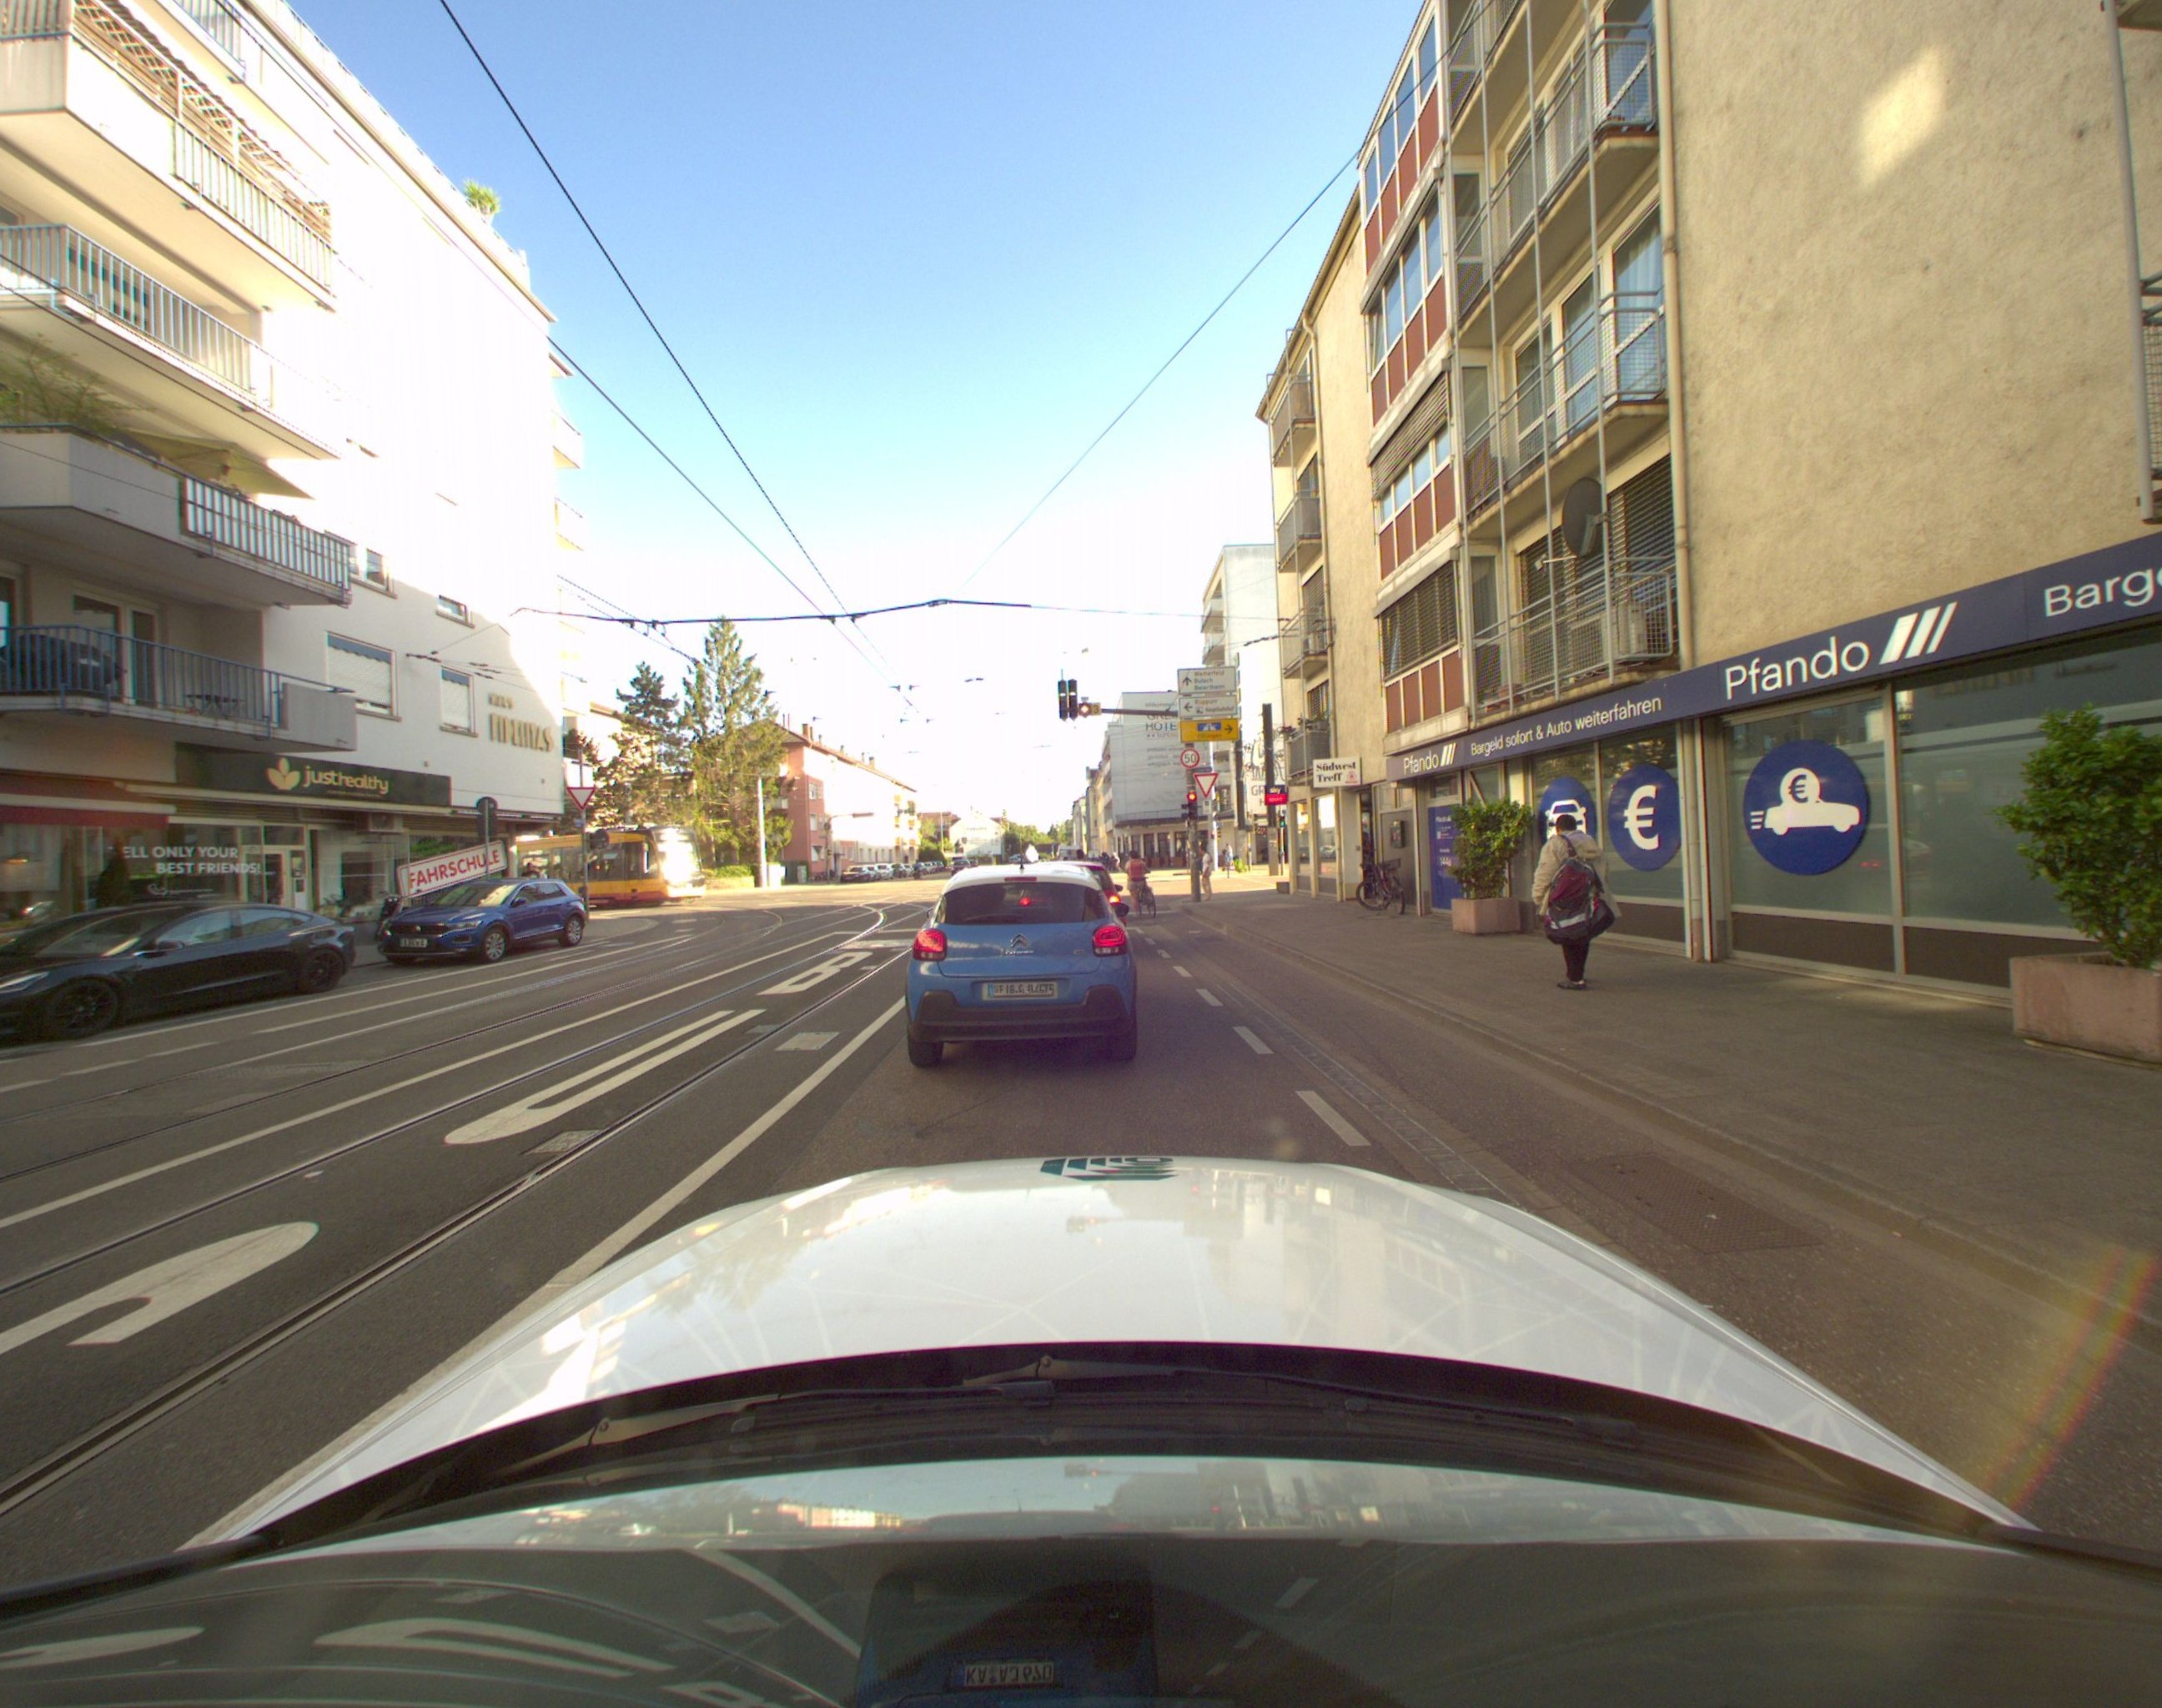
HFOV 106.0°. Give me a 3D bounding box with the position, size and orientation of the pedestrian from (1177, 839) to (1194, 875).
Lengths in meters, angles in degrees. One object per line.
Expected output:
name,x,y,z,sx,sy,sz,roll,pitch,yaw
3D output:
pedestrian,6.029,0.174,46.937,0.922,2.014,0.760,0,-1,1

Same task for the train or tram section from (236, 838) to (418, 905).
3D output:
train or tram section,-45.053,1.037,48.444,14.088,3.632,2.769,-1,-1,25

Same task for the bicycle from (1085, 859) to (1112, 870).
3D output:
bicycle,1.451,0.870,67.295,2.130,0.901,0.366,0,-1,-7

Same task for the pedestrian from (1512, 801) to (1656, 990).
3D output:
pedestrian,4.458,0.353,7.274,0.822,1.593,0.751,0,-1,1

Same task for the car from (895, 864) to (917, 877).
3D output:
car,-19.946,1.851,92.869,1.728,1.498,3.996,0,-1,-2

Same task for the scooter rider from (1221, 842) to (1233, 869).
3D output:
scooter rider,10.188,0.105,56.813,0.718,1.832,0.718,-3,-1,4

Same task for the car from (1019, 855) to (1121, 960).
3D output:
car,-0.113,0.799,13.295,1.419,1.467,2.925,-2,-1,2

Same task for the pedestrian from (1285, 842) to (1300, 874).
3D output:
pedestrian,10.600,0.195,40.776,0.730,1.601,0.751,-1,-1,15

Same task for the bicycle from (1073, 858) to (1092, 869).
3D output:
bicycle,0.131,0.825,69.645,1.765,0.901,0.369,-1,-1,36

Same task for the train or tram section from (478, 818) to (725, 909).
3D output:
train or tram section,-21.978,0.533,36.993,12.473,3.593,3.090,-2,0,26

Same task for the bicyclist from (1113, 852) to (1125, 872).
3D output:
bicyclist,2.893,0.592,62.028,0.739,1.477,0.565,-1,-1,20

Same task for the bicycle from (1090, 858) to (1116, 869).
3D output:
bicycle,1.784,0.773,66.182,2.130,0.901,0.366,0,-1,-7

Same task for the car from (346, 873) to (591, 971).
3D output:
car,-11.941,1.236,16.288,1.864,1.531,4.068,-2,0,-2

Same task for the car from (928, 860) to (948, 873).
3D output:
car,-18.690,1.673,106.786,1.978,1.687,3.998,0,-1,-1

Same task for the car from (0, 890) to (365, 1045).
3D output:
car,-12.035,1.291,10.455,1.816,1.387,4.425,-2,0,-2

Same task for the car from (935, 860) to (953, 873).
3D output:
car,-18.846,1.682,111.984,1.877,1.687,3.998,0,-1,-1

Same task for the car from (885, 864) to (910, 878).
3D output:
car,-19.549,1.806,86.748,1.781,1.498,3.998,0,-1,-1

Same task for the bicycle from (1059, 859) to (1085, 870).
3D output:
bicycle,-0.716,0.879,66.492,2.130,0.901,0.366,0,-1,-7

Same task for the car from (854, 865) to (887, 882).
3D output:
car,-19.247,1.787,74.675,1.808,1.498,4.302,0,0,2

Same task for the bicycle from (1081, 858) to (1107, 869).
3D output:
bicycle,1.062,0.821,68.423,2.130,0.901,0.366,0,-1,-7

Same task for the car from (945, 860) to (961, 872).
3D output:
car,-19.169,1.764,121.937,1.841,1.687,3.872,0,-1,-1

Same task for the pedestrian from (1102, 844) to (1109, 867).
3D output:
pedestrian,2.075,0.149,70.349,0.575,2.014,0.625,0,-1,-1

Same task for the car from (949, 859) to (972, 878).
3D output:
car,-11.345,1.342,76.877,1.770,1.666,3.854,0,-1,-2

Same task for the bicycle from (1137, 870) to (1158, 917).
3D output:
bicycle,1.683,0.977,20.688,0.426,1.123,1.999,0,-1,2

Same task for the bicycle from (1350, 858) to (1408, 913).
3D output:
bicycle,5.727,0.576,15.735,0.540,0.998,1.706,0,-1,2

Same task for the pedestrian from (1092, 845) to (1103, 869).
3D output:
pedestrian,1.379,0.282,69.292,0.635,2.014,0.717,0,-1,-34

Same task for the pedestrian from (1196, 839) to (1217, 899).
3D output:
pedestrian,3.742,0.441,24.319,0.515,1.783,0.595,0,-1,0

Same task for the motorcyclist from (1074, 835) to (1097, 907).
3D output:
motorcyclist,0.120,0.404,19.759,0.524,1.716,0.717,0,-1,2

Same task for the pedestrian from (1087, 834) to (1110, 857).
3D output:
pedestrian,1.635,-0.726,73.699,1.986,2.014,4.001,0,-1,2

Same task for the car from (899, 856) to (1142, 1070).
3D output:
car,-0.359,0.758,7.306,1.648,1.444,3.524,0,-1,2

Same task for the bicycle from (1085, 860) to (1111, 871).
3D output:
bicycle,1.416,0.934,67.721,2.130,0.901,0.366,0,-1,-7

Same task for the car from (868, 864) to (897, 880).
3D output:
car,-19.423,1.743,79.973,1.781,1.511,4.150,0,-1,1

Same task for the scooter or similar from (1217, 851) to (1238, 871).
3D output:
scooter or similar,10.210,0.481,56.836,1.343,1.269,0.444,-3,-1,4

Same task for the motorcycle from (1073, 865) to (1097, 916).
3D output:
motorcycle,0.113,0.837,19.567,0.524,1.139,2.290,0,-1,2

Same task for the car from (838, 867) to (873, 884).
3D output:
car,-19.199,1.813,69.427,1.787,1.421,3.996,0,-1,1

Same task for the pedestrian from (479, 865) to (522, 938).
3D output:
pedestrian,-14.519,1.175,20.381,0.569,1.805,0.699,0,-1,1

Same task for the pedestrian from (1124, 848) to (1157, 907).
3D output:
pedestrian,1.476,0.579,20.313,0.774,1.460,0.682,0,-1,1

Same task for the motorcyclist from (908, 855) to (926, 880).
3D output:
motorcyclist,-13.655,1.115,67.716,1.182,2.013,1.275,-2,0,-1

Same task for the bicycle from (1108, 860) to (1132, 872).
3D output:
bicycle,2.966,0.917,61.980,1.837,0.903,0.352,-1,-1,21

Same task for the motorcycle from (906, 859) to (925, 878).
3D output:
motorcycle,-13.649,1.197,67.309,0.921,1.486,3.724,0,-1,-1

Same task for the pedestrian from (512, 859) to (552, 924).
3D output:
pedestrian,-17.253,1.158,25.609,0.767,2.014,0.694,0,-1,-4

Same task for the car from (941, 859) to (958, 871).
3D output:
car,-18.952,1.593,117.295,1.828,1.687,3.998,0,-1,-1
